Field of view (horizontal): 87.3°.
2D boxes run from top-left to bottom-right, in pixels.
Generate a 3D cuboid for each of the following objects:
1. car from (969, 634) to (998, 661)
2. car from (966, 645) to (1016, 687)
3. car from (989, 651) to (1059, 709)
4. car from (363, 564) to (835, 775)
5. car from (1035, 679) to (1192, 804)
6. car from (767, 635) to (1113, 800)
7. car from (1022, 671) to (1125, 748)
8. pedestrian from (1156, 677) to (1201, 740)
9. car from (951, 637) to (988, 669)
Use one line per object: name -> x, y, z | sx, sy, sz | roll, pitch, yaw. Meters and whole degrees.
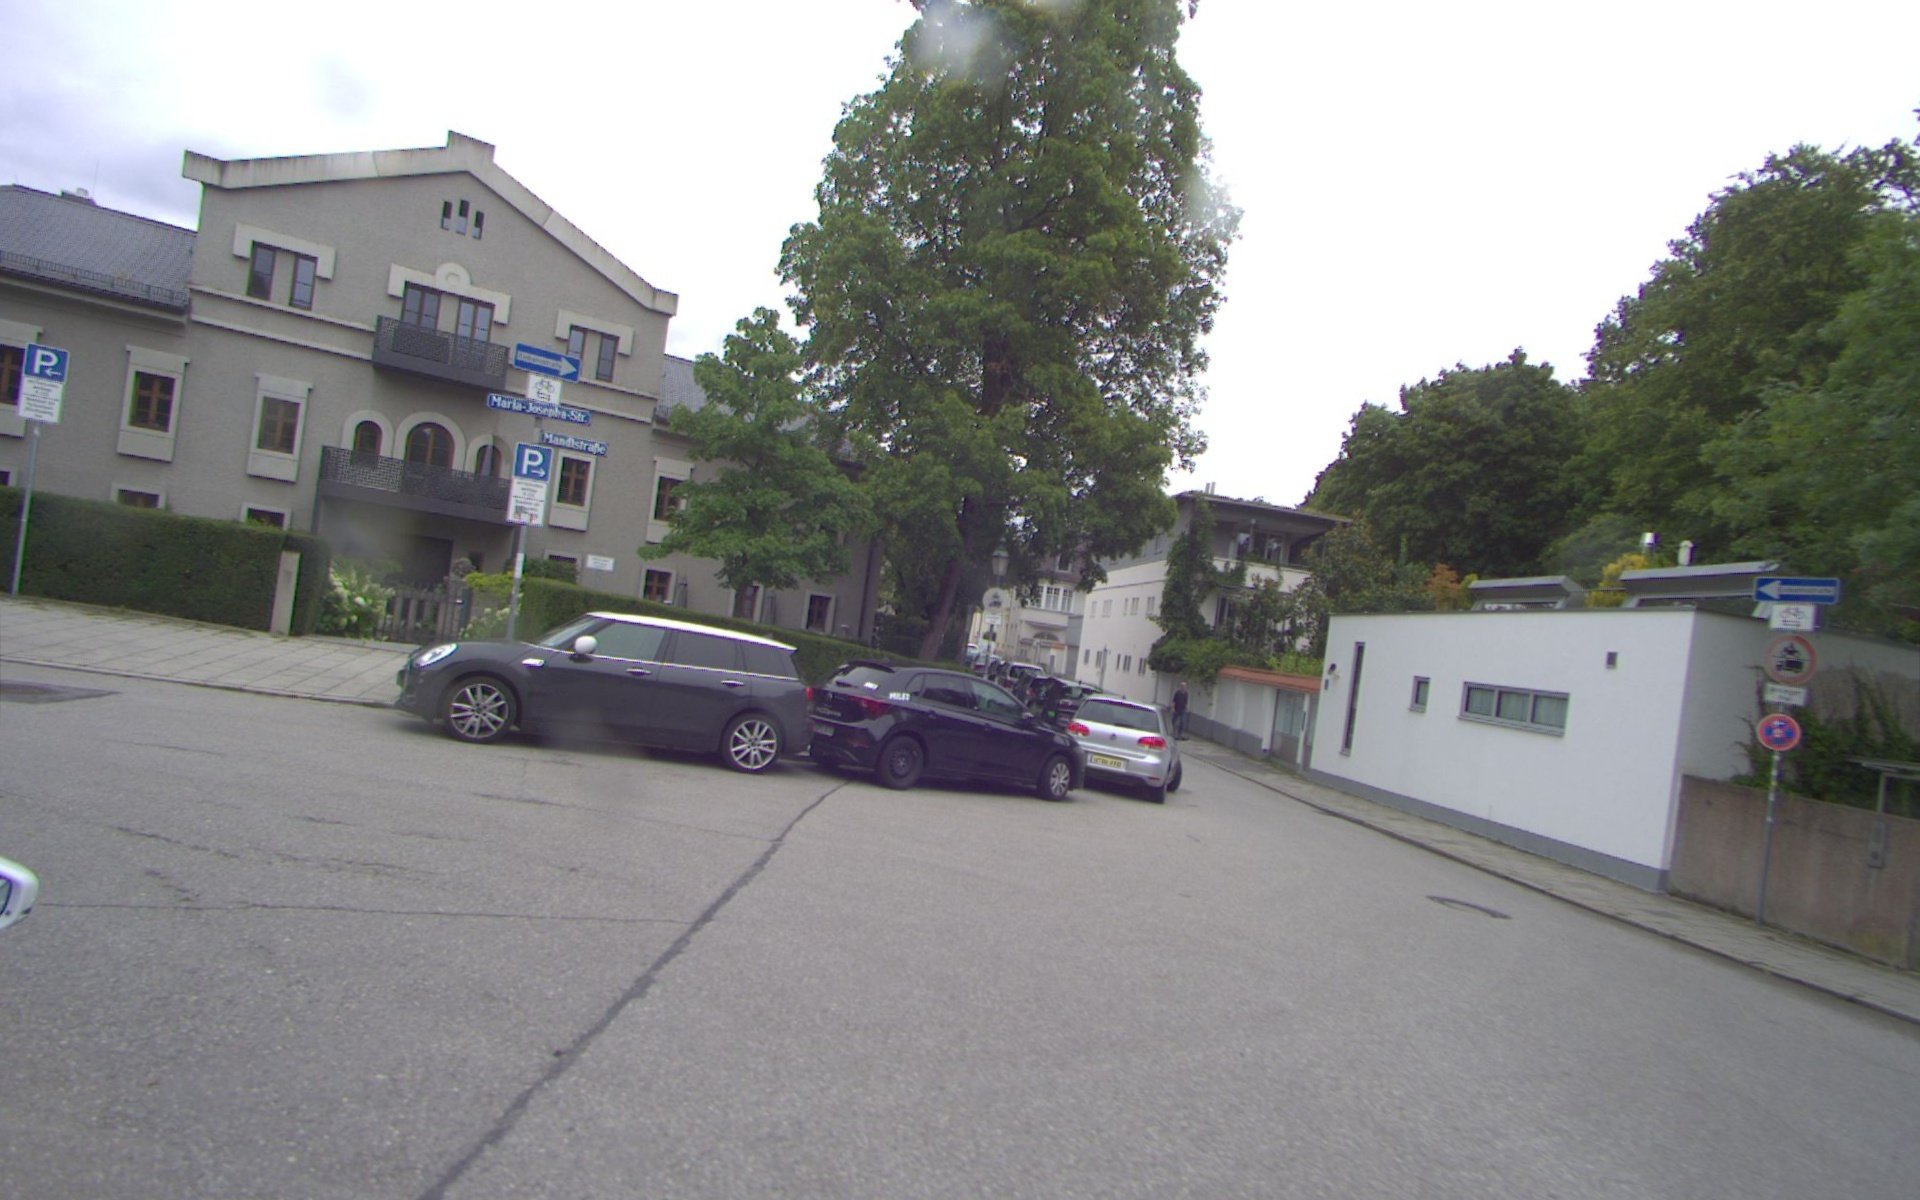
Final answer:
car -> 2.029, 4.109, 87.381 | 1.964, 2.036, 4.180 | 9, -2, -3
car -> 1.520, 3.307, 50.863 | 1.907, 1.681, 4.014 | 9, -2, -4
car -> 2.364, 2.969, 38.094 | 1.907, 1.681, 4.014 | 9, -2, -4
car -> -3.710, 0.772, 10.733 | 4.220, 1.461, 1.888 | 11, -4, -25
car -> 2.684, 2.278, 16.731 | 1.905, 1.461, 4.023 | 10, -3, 16
car -> -0.160, 1.537, 12.844 | 3.990, 1.461, 1.878 | 13, -6, -39
car -> 2.988, 2.902, 27.397 | 1.907, 1.463, 4.014 | 9, -2, -4
pedestrian -> 7.452, 3.687, 34.392 | 0.935, 1.953, 1.231 | 9, -1, -5
car -> 0.603, 3.462, 65.841 | 1.907, 1.681, 4.014 | 9, -2, -4
